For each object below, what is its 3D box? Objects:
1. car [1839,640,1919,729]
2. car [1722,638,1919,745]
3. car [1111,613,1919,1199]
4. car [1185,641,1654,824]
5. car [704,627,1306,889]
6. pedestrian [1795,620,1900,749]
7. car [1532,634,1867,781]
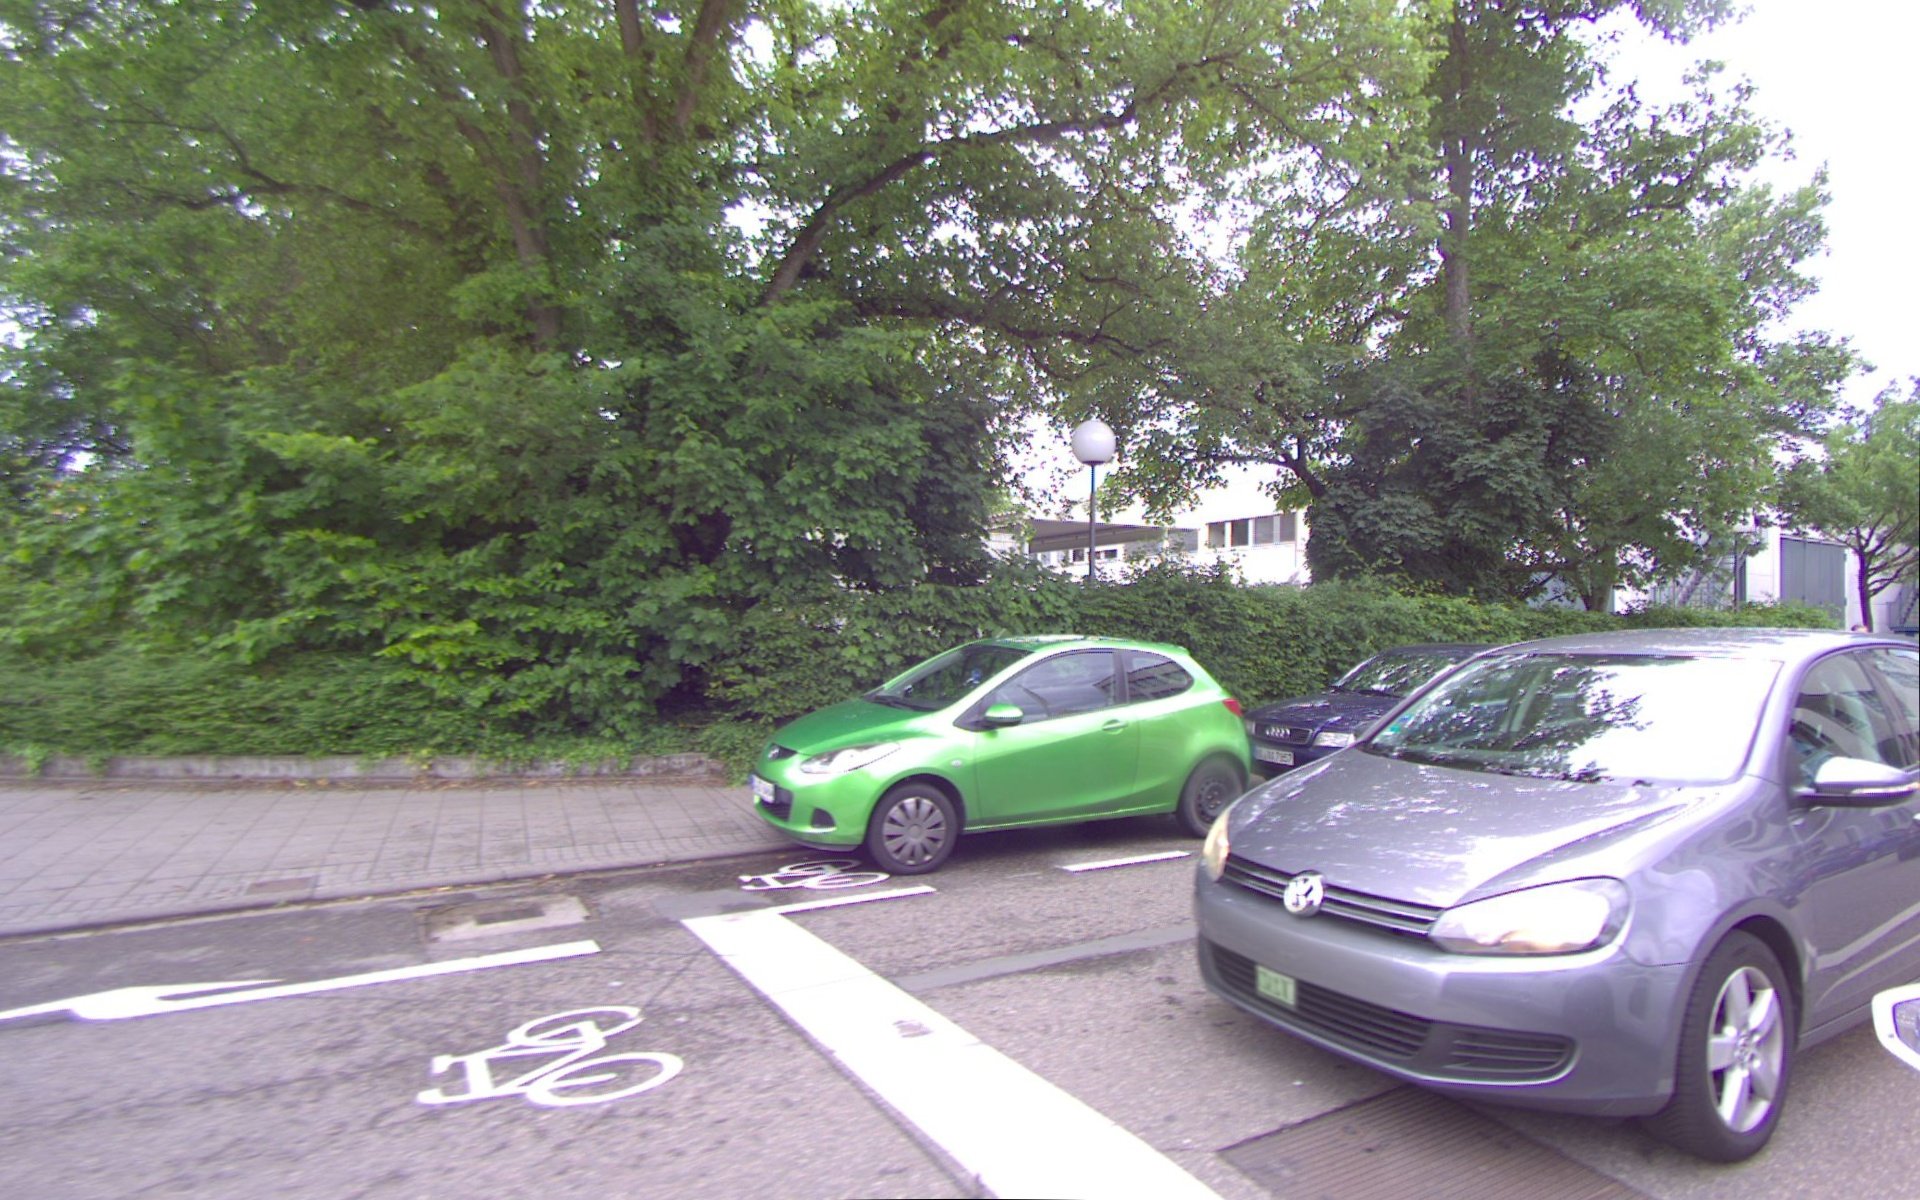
[{"bbox_3d":[17.492,1.446,17.815,3.962,1.430,1.754,1,-2,-31],"label":"car"},{"bbox_3d":[13.860,1.353,15.718,3.779,1.490,1.754,2,-3,-30],"label":"car"},{"bbox_3d":[2.783,0.873,4.055,4.118,1.517,1.775,2,-3,-30],"label":"car"},{"bbox_3d":[4.427,1.122,9.623,4.279,1.426,1.792,2,-2,-26],"label":"car"},{"bbox_3d":[0.401,0.987,7.521,4.195,1.489,1.791,2,-3,-28],"label":"car"},{"bbox_3d":[12.104,1.127,13.704,0.955,1.683,0.736,0,-2,-27],"label":"pedestrian"},{"bbox_3d":[9.513,1.238,12.849,4.476,1.581,1.790,1,-2,-30],"label":"car"}]
